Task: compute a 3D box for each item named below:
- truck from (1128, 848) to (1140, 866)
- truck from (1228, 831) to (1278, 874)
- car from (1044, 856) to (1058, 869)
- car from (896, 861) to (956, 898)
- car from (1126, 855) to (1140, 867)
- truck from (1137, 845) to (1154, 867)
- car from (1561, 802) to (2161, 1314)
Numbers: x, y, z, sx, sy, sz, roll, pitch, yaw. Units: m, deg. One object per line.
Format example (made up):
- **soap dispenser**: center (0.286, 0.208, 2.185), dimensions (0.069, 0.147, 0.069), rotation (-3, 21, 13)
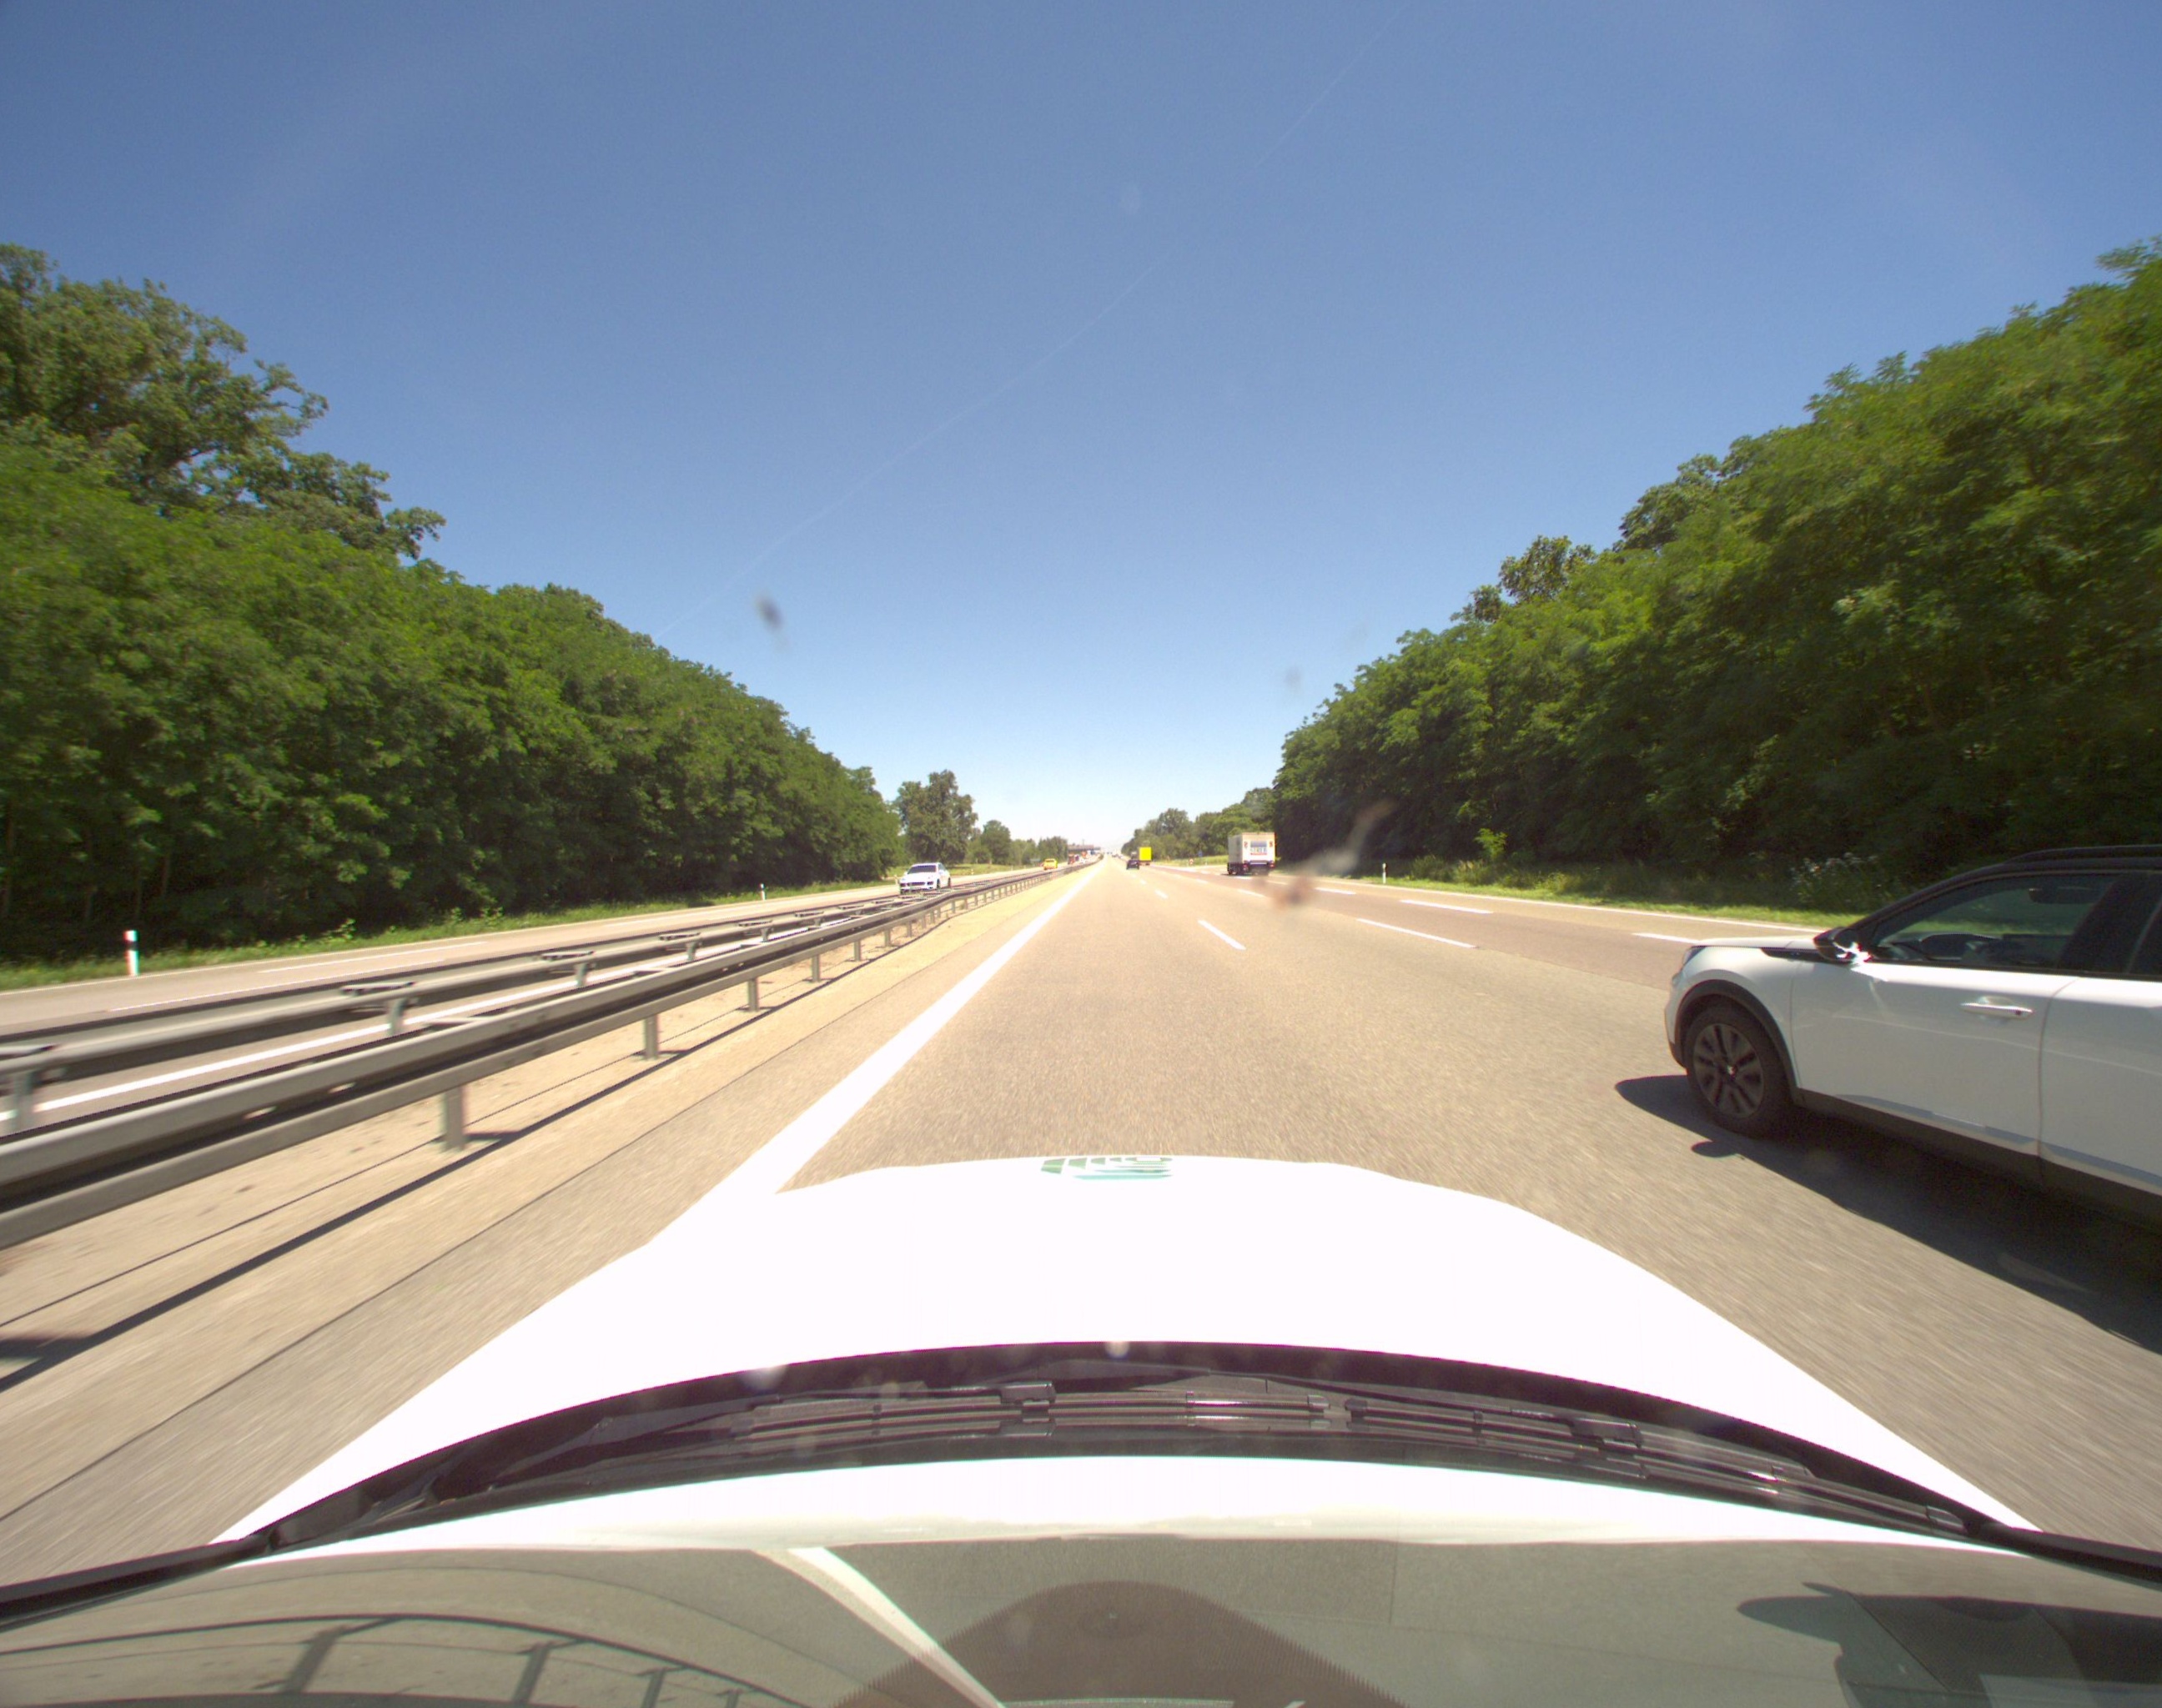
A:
- **truck**: center (15.128, 0.860, 234.011), dimensions (3.353, 4.881, 15.096), rotation (-1, 0, 3)
- **truck**: center (14.331, -0.101, 68.708), dimensions (3.013, 3.319, 10.789), rotation (-1, 0, 6)
- **car**: center (-4.957, 1.366, 133.969), dimensions (1.986, 1.964, 5.213), rotation (-1, 0, 2)
- **car**: center (-8.169, 1.311, 43.427), dimensions (1.986, 1.706, 5.267), rotation (-1, 1, 2)
- **car**: center (7.434, 1.037, 115.781), dimensions (1.820, 1.706, 4.001), rotation (-1, 0, 2)
- **truck**: center (14.787, 0.585, 188.449), dimensions (3.363, 4.881, 15.096), rotation (-1, 0, 3)
- **car**: center (4.319, 0.628, 3.451), dimensions (1.820, 1.608, 4.810), rotation (-1, 0, 2)
